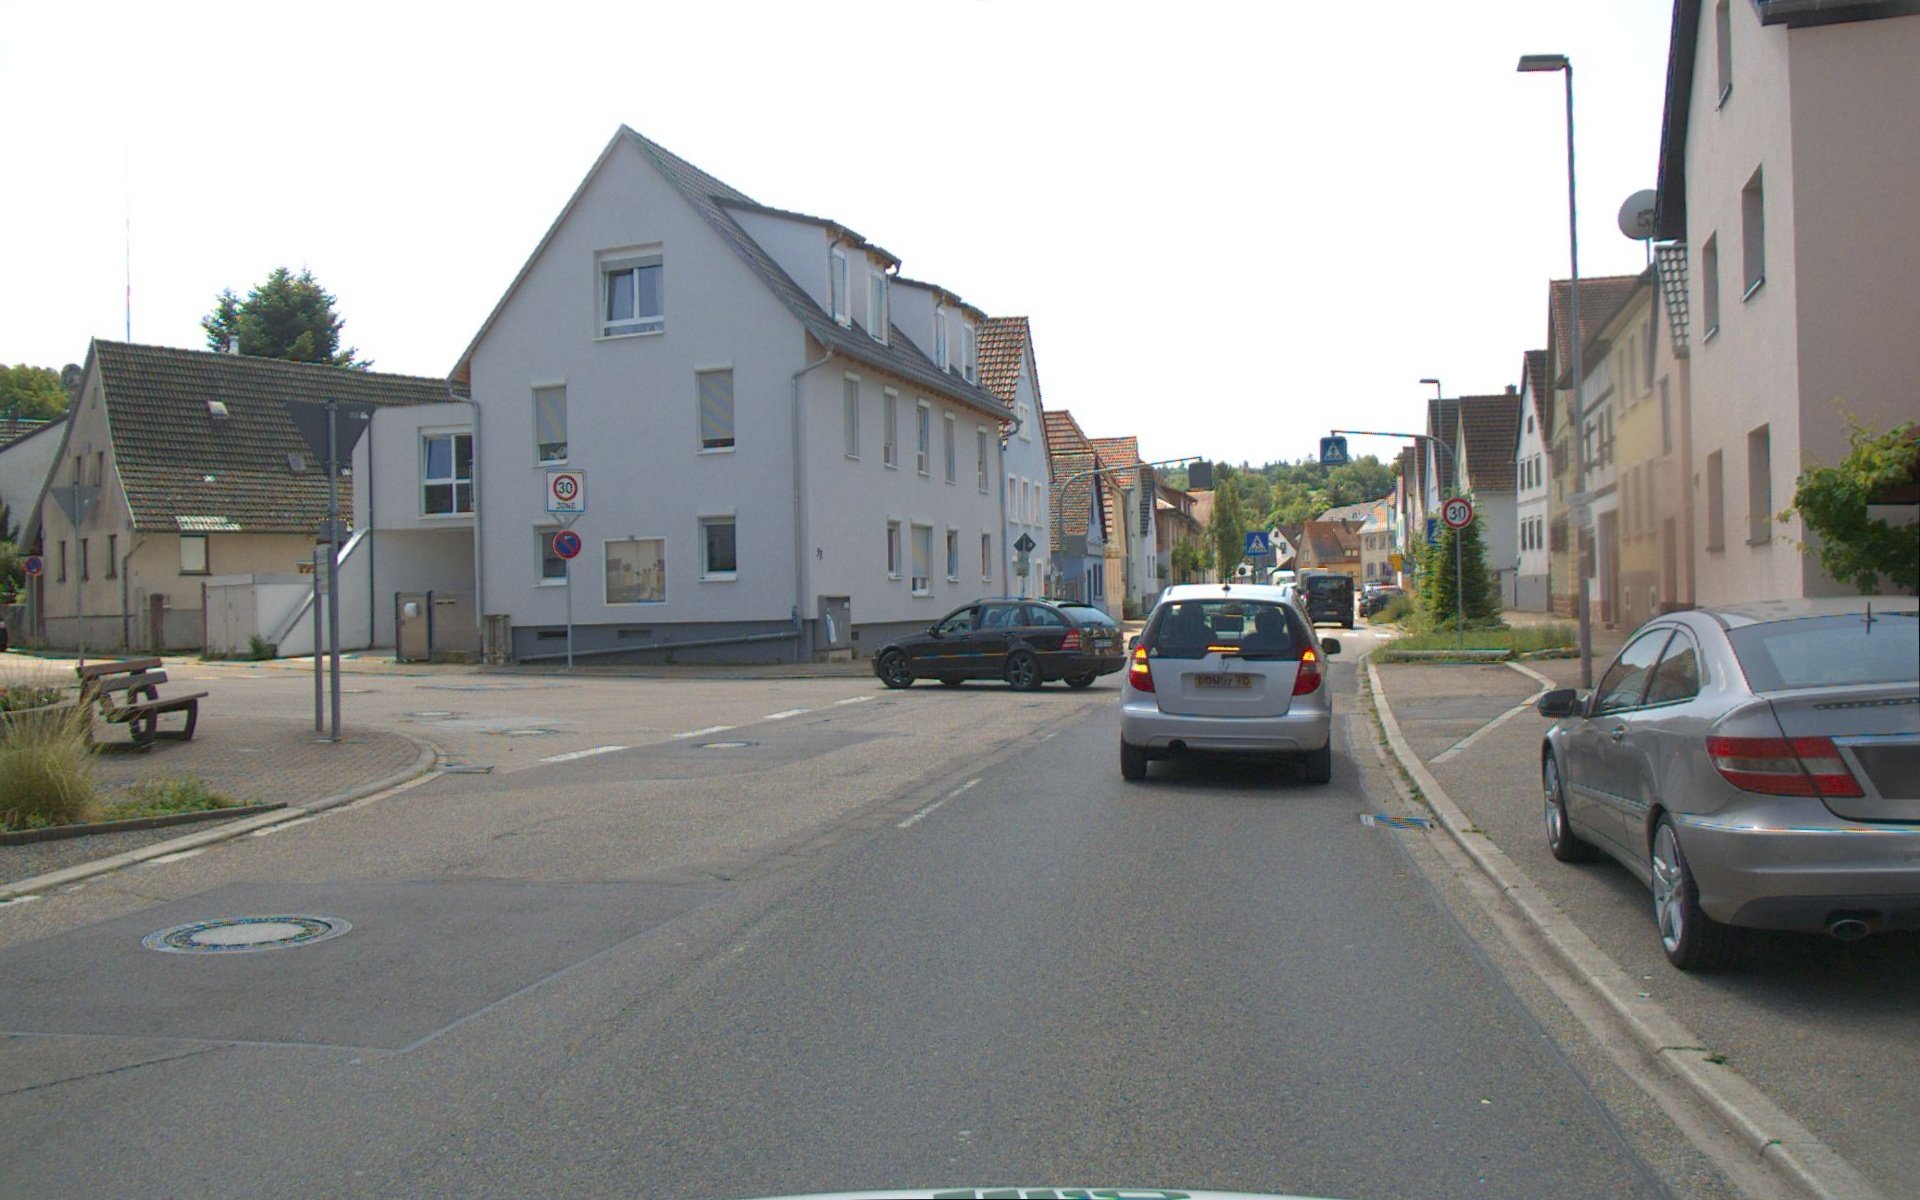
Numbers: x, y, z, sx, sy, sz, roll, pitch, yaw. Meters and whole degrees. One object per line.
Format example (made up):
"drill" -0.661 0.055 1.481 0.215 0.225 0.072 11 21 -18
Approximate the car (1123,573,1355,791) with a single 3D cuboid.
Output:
"car" 2.503 0.639 14.804 1.772 1.672 3.732 1 0 10

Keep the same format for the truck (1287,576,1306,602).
"truck" 36.218 -1.181 177.921 1.951 2.581 6.744 0 -2 11

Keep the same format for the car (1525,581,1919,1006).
"car" 3.932 0.672 7.750 1.732 1.424 4.428 -4 -2 11

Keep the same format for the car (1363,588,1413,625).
"car" 18.845 0.311 72.974 1.951 1.534 4.003 0 -2 12

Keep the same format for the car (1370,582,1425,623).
"car" 17.578 0.139 66.592 1.951 1.534 4.003 0 -2 12

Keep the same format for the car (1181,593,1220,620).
"car" 12.460 0.354 85.768 1.951 1.344 3.711 0 -2 7

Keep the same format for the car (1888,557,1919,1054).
"car" 3.473 0.593 2.493 1.845 1.556 4.337 -4 -1 4

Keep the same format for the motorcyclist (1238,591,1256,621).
"motorcyclist" 15.083 0.313 86.937 0.877 1.582 0.808 0 0 13

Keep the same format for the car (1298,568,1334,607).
"car" 20.190 -0.667 93.909 1.951 2.049 4.003 0 -2 12

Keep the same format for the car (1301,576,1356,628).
"car" 13.995 0.106 62.974 1.951 1.848 4.003 0 -2 11

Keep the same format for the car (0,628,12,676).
"car" -32.761 1.724 54.881 1.479 1.557 3.420 2 -2 -44

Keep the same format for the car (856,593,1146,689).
"car" 0.603 0.675 26.806 4.547 1.436 1.806 -1 -2 38

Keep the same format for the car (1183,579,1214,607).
"car" 14.997 -0.415 103.793 1.631 1.624 4.003 0 -2 12

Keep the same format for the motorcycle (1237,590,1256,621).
"motorcycle" 15.046 0.292 86.876 0.861 1.588 1.969 0 0 12
